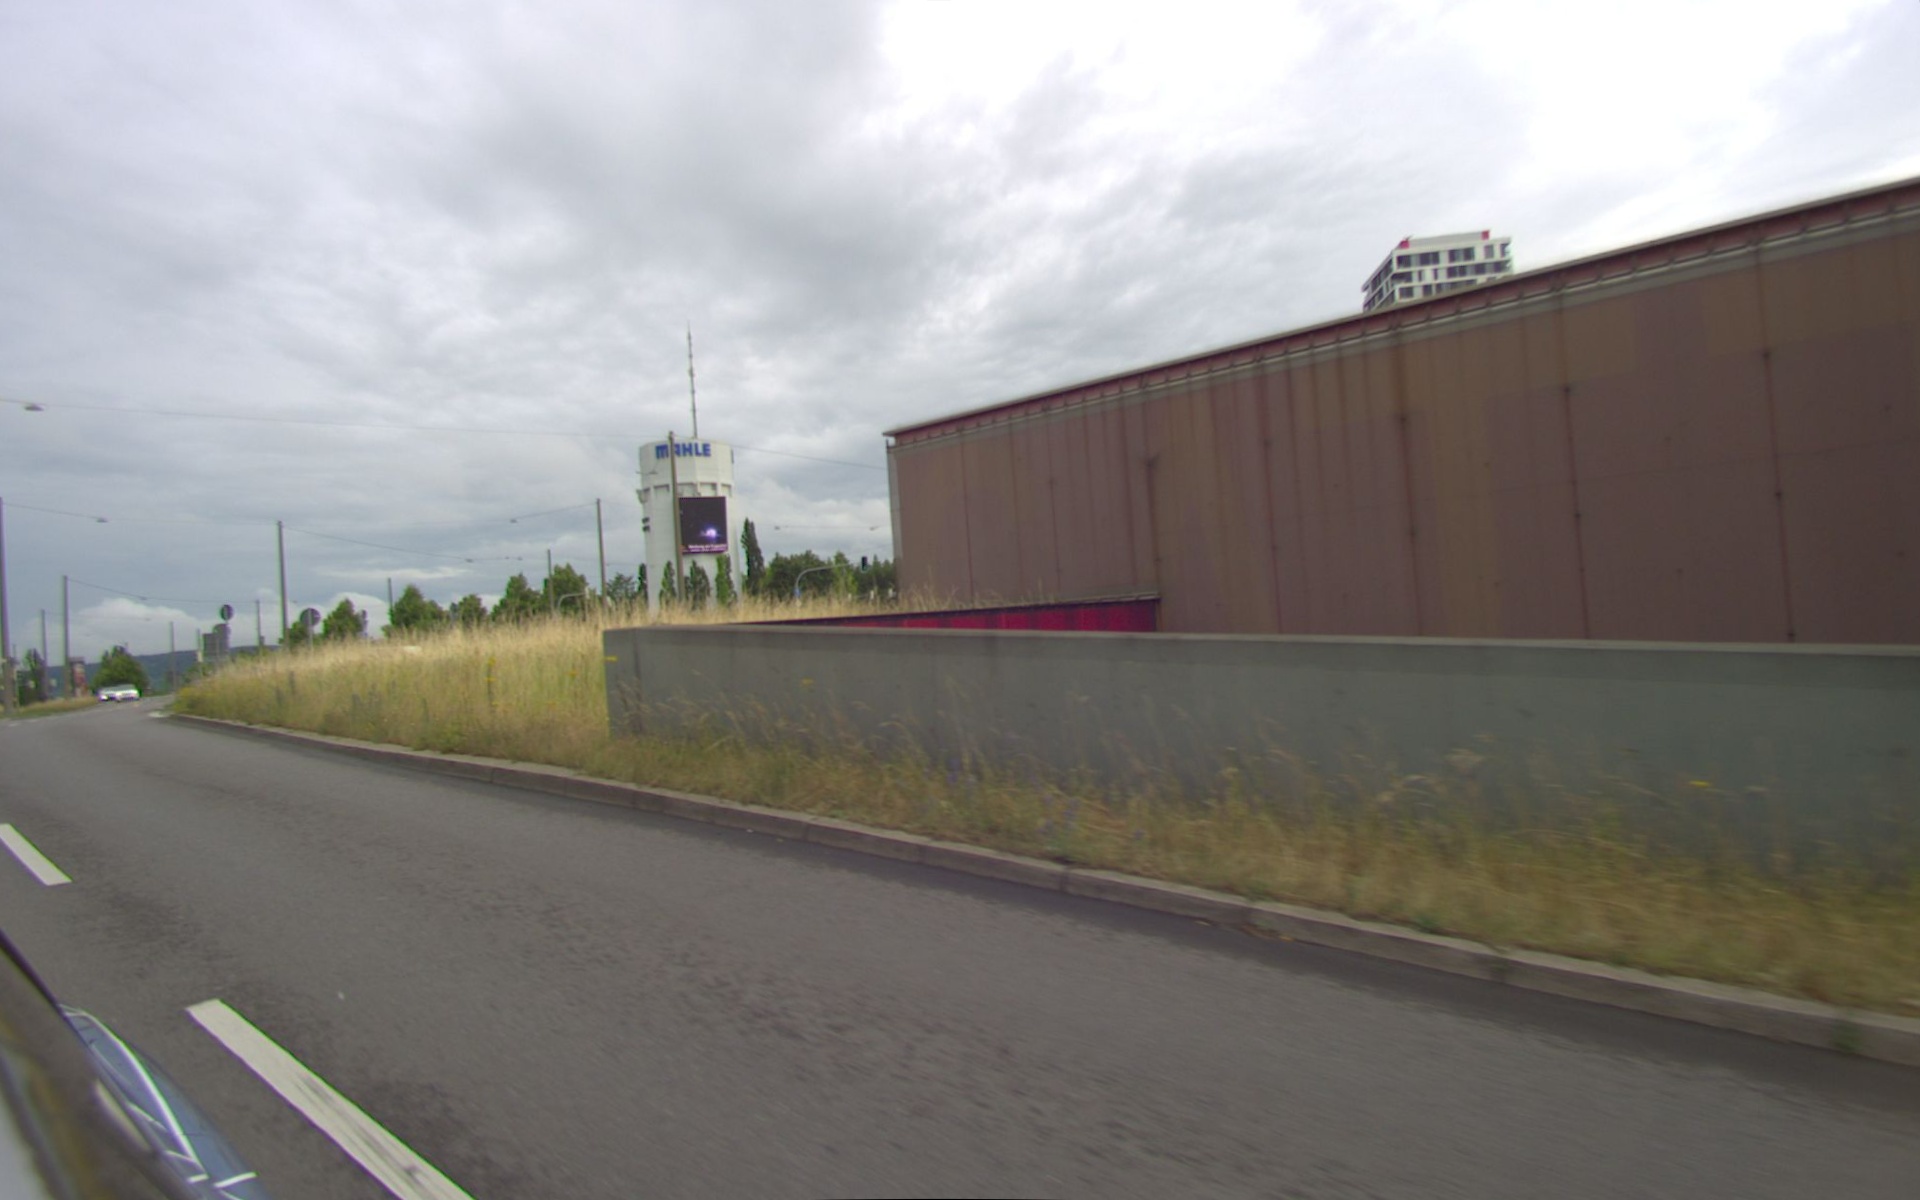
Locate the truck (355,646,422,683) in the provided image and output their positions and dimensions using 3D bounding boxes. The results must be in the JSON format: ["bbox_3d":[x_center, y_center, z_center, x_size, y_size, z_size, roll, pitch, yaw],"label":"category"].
[{"bbox_3d":[-54.454,6.155,96.468,5.990,2.855,2.116,-6,-1,22],"label":"truck"}]

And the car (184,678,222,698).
[{"bbox_3d":[-82.421,9.580,110.190,5.164,1.814,1.975,-7,-1,39],"label":"car"}]

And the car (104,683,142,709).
[{"bbox_3d":[-77.508,8.877,93.707,3.999,2.028,1.973,-7,-1,42],"label":"car"}]

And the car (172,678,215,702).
[{"bbox_3d":[-70.351,8.287,92.884,3.993,1.796,1.976,-7,-1,37],"label":"car"}]
